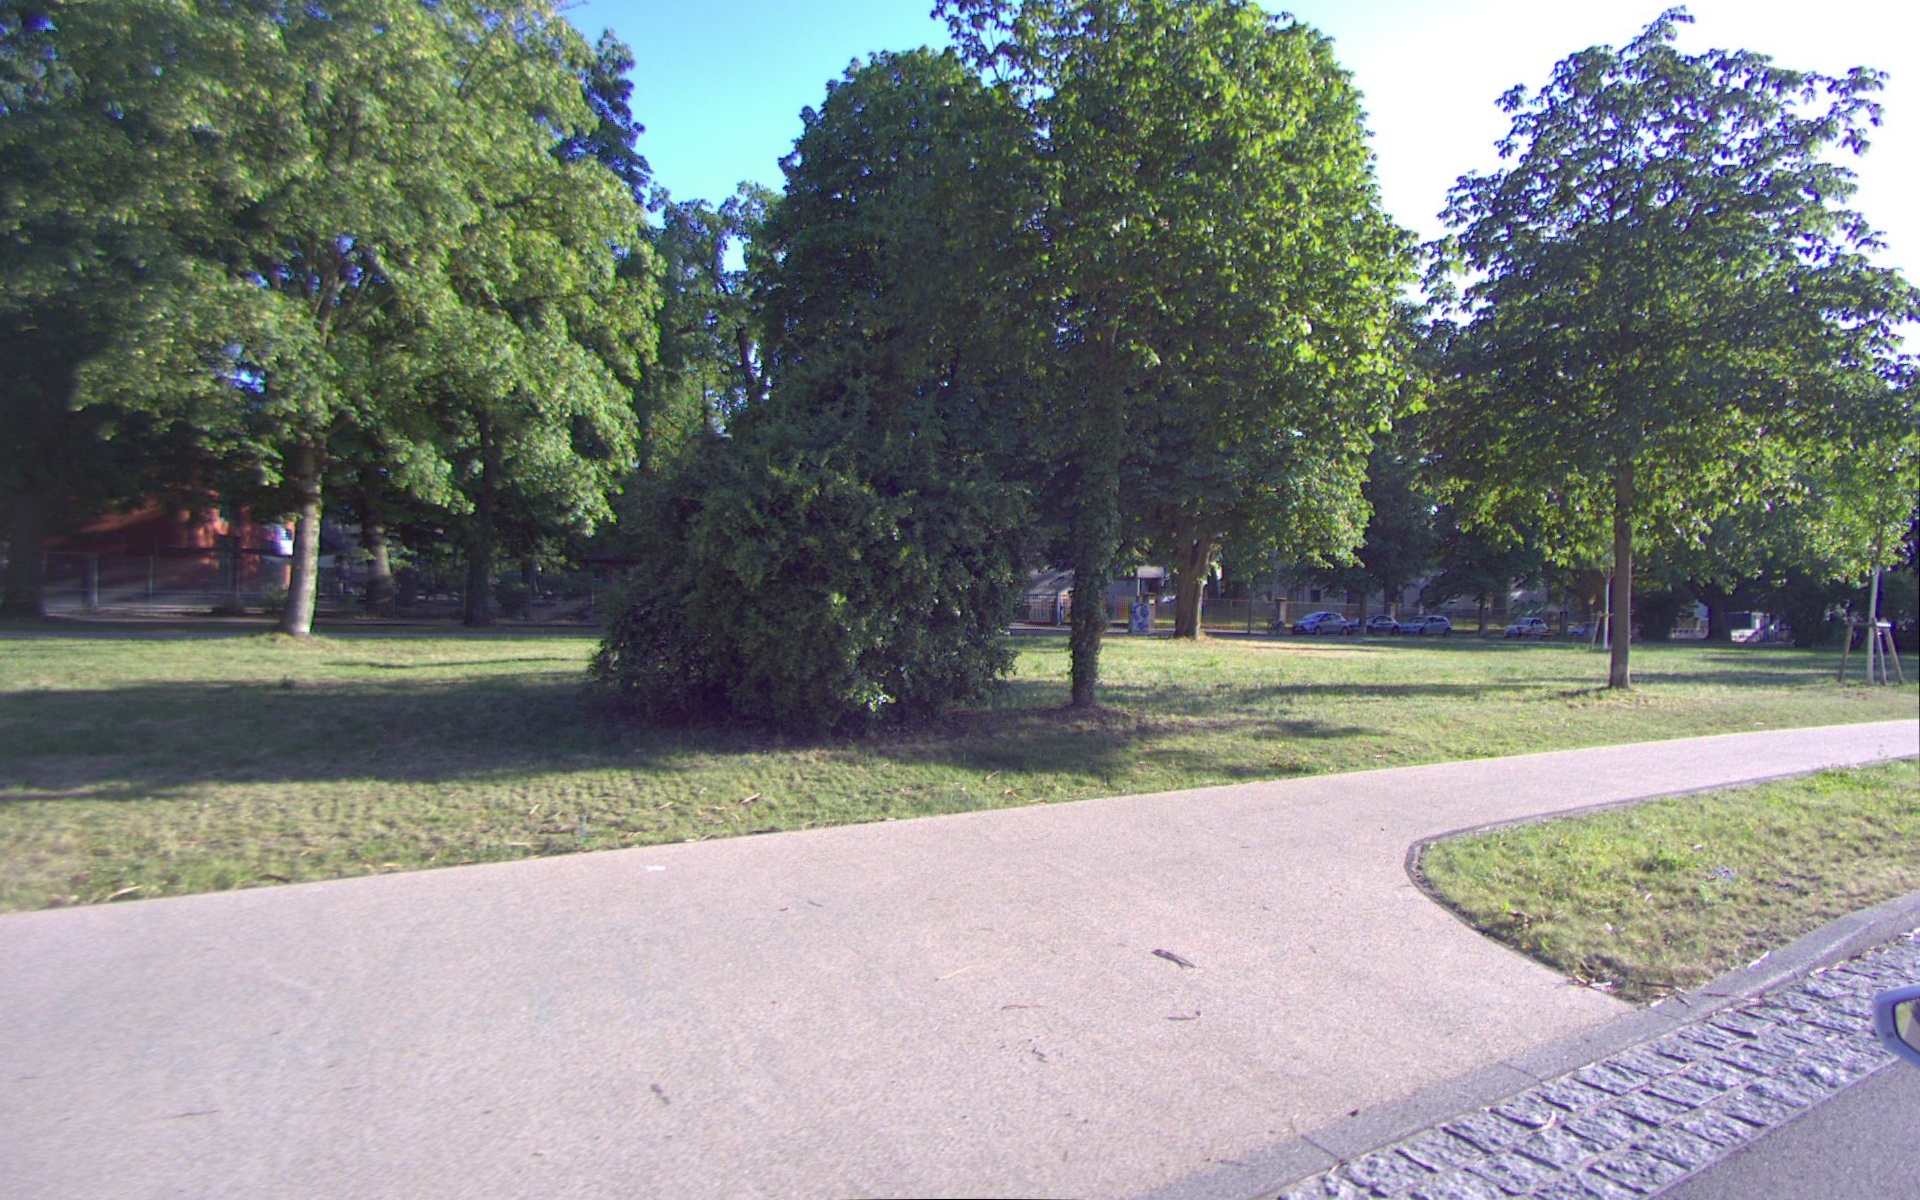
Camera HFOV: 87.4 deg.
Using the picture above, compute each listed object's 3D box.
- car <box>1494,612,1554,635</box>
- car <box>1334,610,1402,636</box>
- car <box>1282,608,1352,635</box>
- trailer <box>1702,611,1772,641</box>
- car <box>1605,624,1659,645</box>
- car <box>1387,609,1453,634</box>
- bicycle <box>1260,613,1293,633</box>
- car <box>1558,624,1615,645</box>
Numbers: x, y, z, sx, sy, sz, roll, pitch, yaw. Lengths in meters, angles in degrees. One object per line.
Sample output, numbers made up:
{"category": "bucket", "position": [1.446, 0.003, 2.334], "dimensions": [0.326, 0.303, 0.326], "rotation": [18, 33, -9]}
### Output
{"category": "car", "position": [40.750, 1.705, 72.616], "dimensions": [4.066, 1.528, 1.984], "rotation": [2, -1, -30]}
{"category": "car", "position": [25.939, 1.491, 63.897], "dimensions": [3.953, 1.528, 1.984], "rotation": [2, -1, -30]}
{"category": "car", "position": [21.865, 1.305, 61.500], "dimensions": [3.953, 1.528, 1.984], "rotation": [2, -1, -30]}
{"category": "trailer", "position": [69.256, 2.336, 89.510], "dimensions": [6.966, 2.522, 2.448], "rotation": [2, -1, -30]}
{"category": "car", "position": [53.613, 2.768, 80.125], "dimensions": [4.066, 1.528, 1.984], "rotation": [2, -1, -30]}
{"category": "car", "position": [30.426, 1.455, 66.473], "dimensions": [4.066, 1.528, 1.984], "rotation": [2, -1, -30]}
{"category": "bicycle", "position": [19.551, 1.408, 62.064], "dimensions": [2.309, 1.191, 0.653], "rotation": [2, -1, -33]}
{"category": "car", "position": [47.735, 2.634, 76.498], "dimensions": [4.066, 1.528, 1.984], "rotation": [2, -1, -30]}
